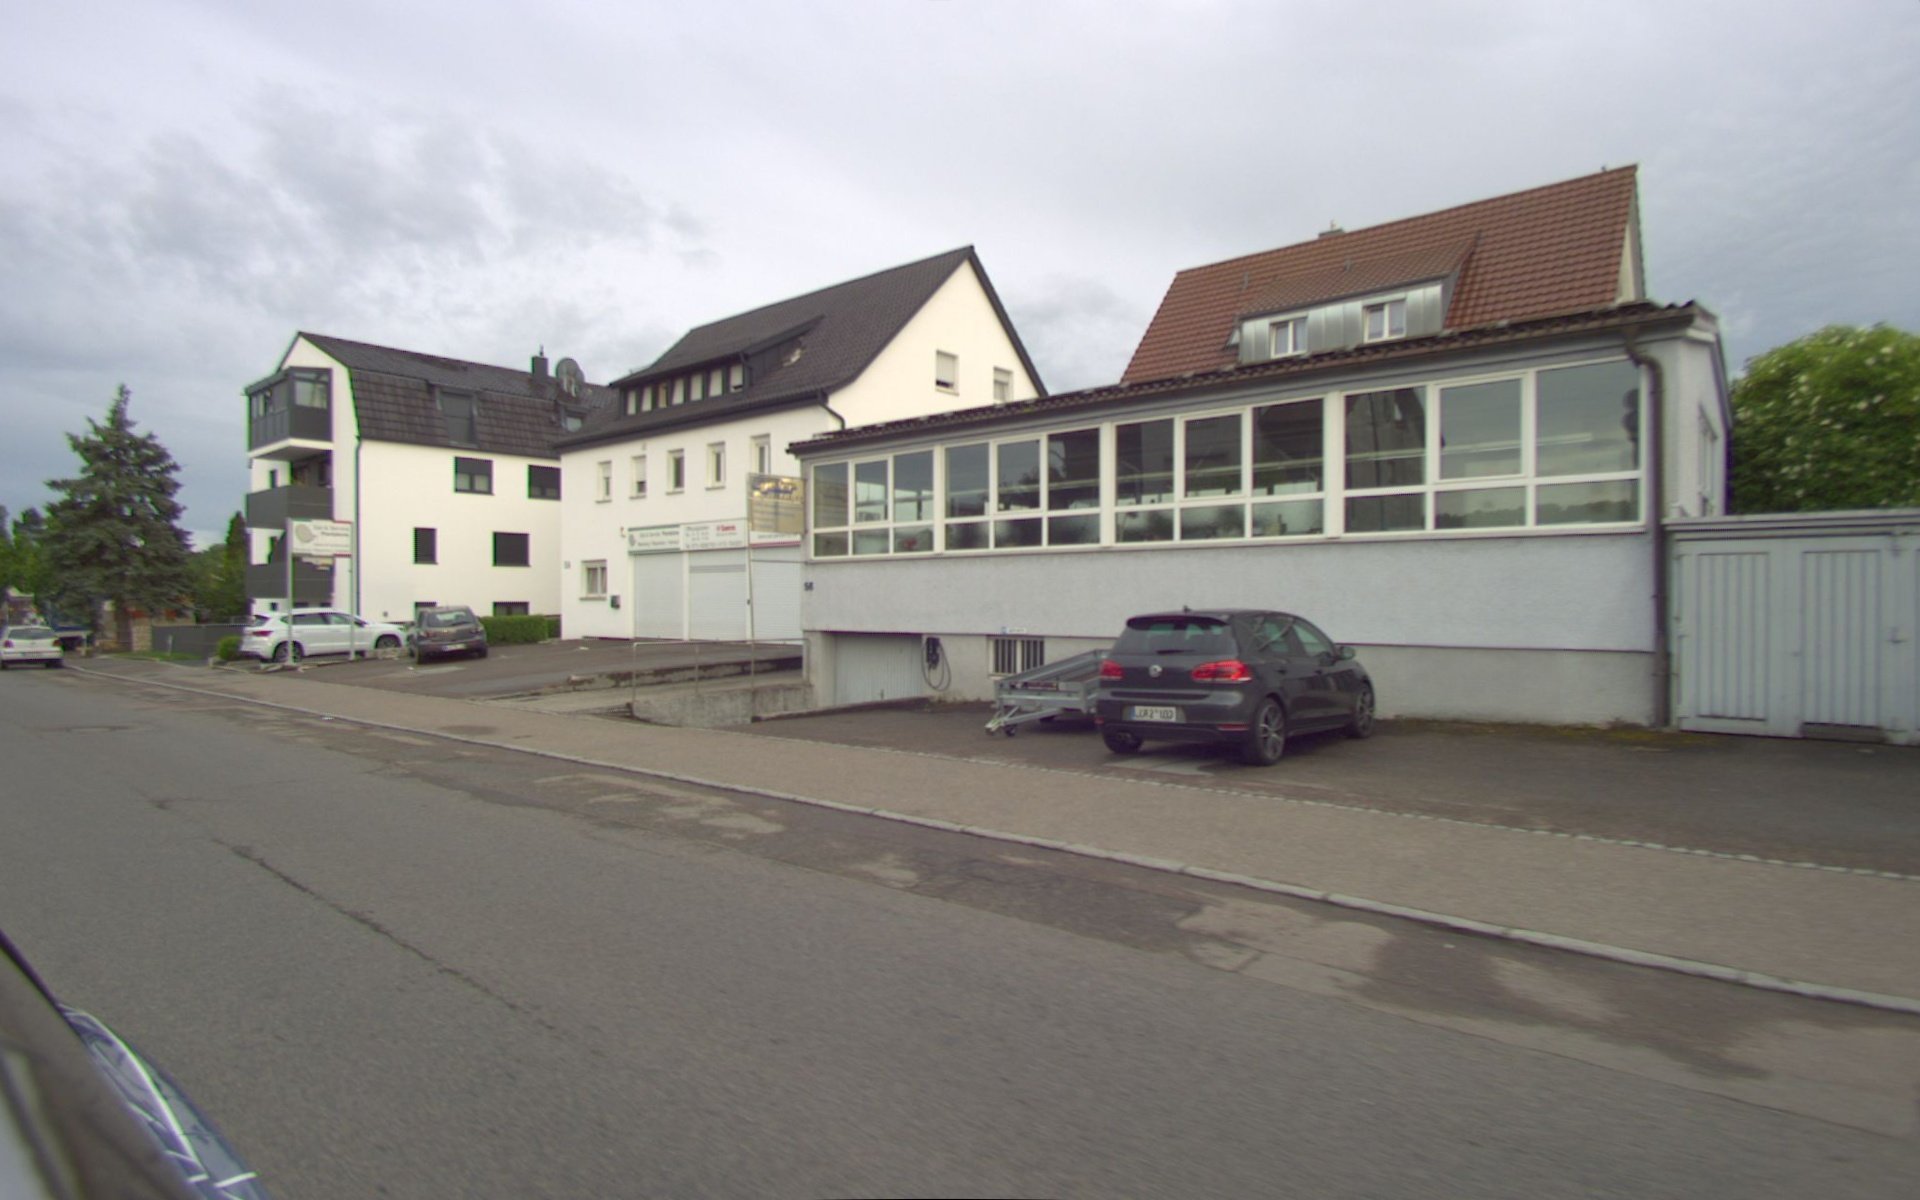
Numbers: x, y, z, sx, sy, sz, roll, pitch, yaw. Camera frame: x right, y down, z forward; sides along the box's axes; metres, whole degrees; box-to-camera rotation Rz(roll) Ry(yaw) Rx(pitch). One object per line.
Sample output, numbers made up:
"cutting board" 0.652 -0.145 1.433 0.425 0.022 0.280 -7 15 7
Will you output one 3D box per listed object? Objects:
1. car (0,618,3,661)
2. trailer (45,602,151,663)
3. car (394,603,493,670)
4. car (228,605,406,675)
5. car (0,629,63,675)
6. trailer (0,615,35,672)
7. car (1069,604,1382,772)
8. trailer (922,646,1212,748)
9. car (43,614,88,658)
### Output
"car" -50.615 2.024 51.853 4.754 2.140 1.972 -2 -2 43
"trailer" -45.796 1.685 53.788 2.167 3.069 4.007 -1 0 41
"car" -14.418 0.938 28.153 1.796 1.541 4.010 -7 4 -35
"car" -19.031 1.144 30.079 1.998 1.659 3.949 -2 3 39
"car" -32.677 1.780 35.250 3.869 1.516 1.717 -2 -2 42
"trailer" -37.570 1.680 39.550 4.005 2.142 1.699 -1 0 42
"car" 2.975 0.800 10.831 1.766 1.449 3.834 -2 -2 40
"trailer" 1.534 1.150 13.142 1.792 0.950 4.156 -2 -1 39
"car" -50.731 2.026 57.359 3.594 2.425 1.549 -2 -2 43
